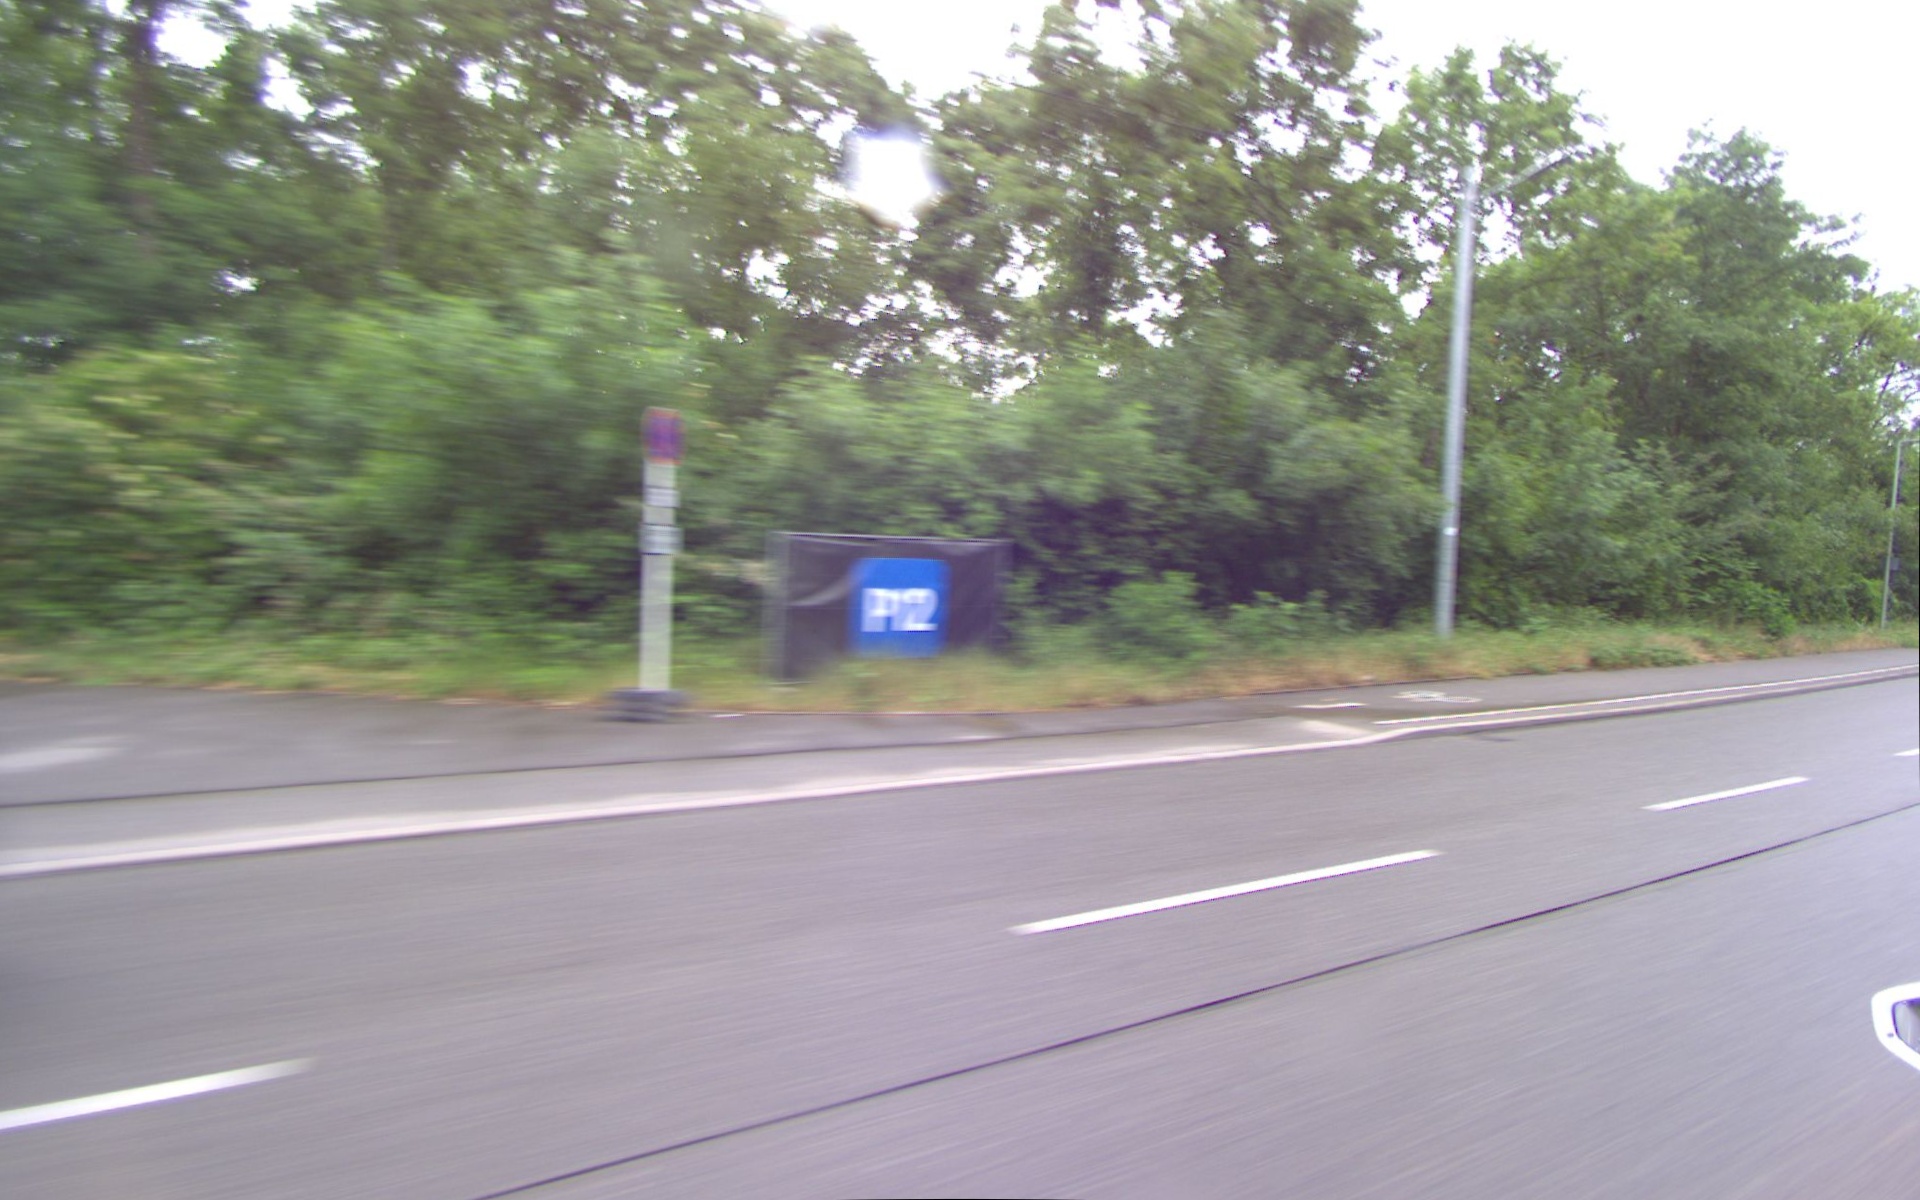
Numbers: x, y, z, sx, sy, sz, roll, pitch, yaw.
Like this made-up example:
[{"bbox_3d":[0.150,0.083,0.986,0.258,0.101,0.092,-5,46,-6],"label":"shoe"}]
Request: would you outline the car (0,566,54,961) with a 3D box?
[{"bbox_3d":[-5.362,0.597,2.517,4.270,1.518,1.924,1,1,-32],"label":"car"}]
